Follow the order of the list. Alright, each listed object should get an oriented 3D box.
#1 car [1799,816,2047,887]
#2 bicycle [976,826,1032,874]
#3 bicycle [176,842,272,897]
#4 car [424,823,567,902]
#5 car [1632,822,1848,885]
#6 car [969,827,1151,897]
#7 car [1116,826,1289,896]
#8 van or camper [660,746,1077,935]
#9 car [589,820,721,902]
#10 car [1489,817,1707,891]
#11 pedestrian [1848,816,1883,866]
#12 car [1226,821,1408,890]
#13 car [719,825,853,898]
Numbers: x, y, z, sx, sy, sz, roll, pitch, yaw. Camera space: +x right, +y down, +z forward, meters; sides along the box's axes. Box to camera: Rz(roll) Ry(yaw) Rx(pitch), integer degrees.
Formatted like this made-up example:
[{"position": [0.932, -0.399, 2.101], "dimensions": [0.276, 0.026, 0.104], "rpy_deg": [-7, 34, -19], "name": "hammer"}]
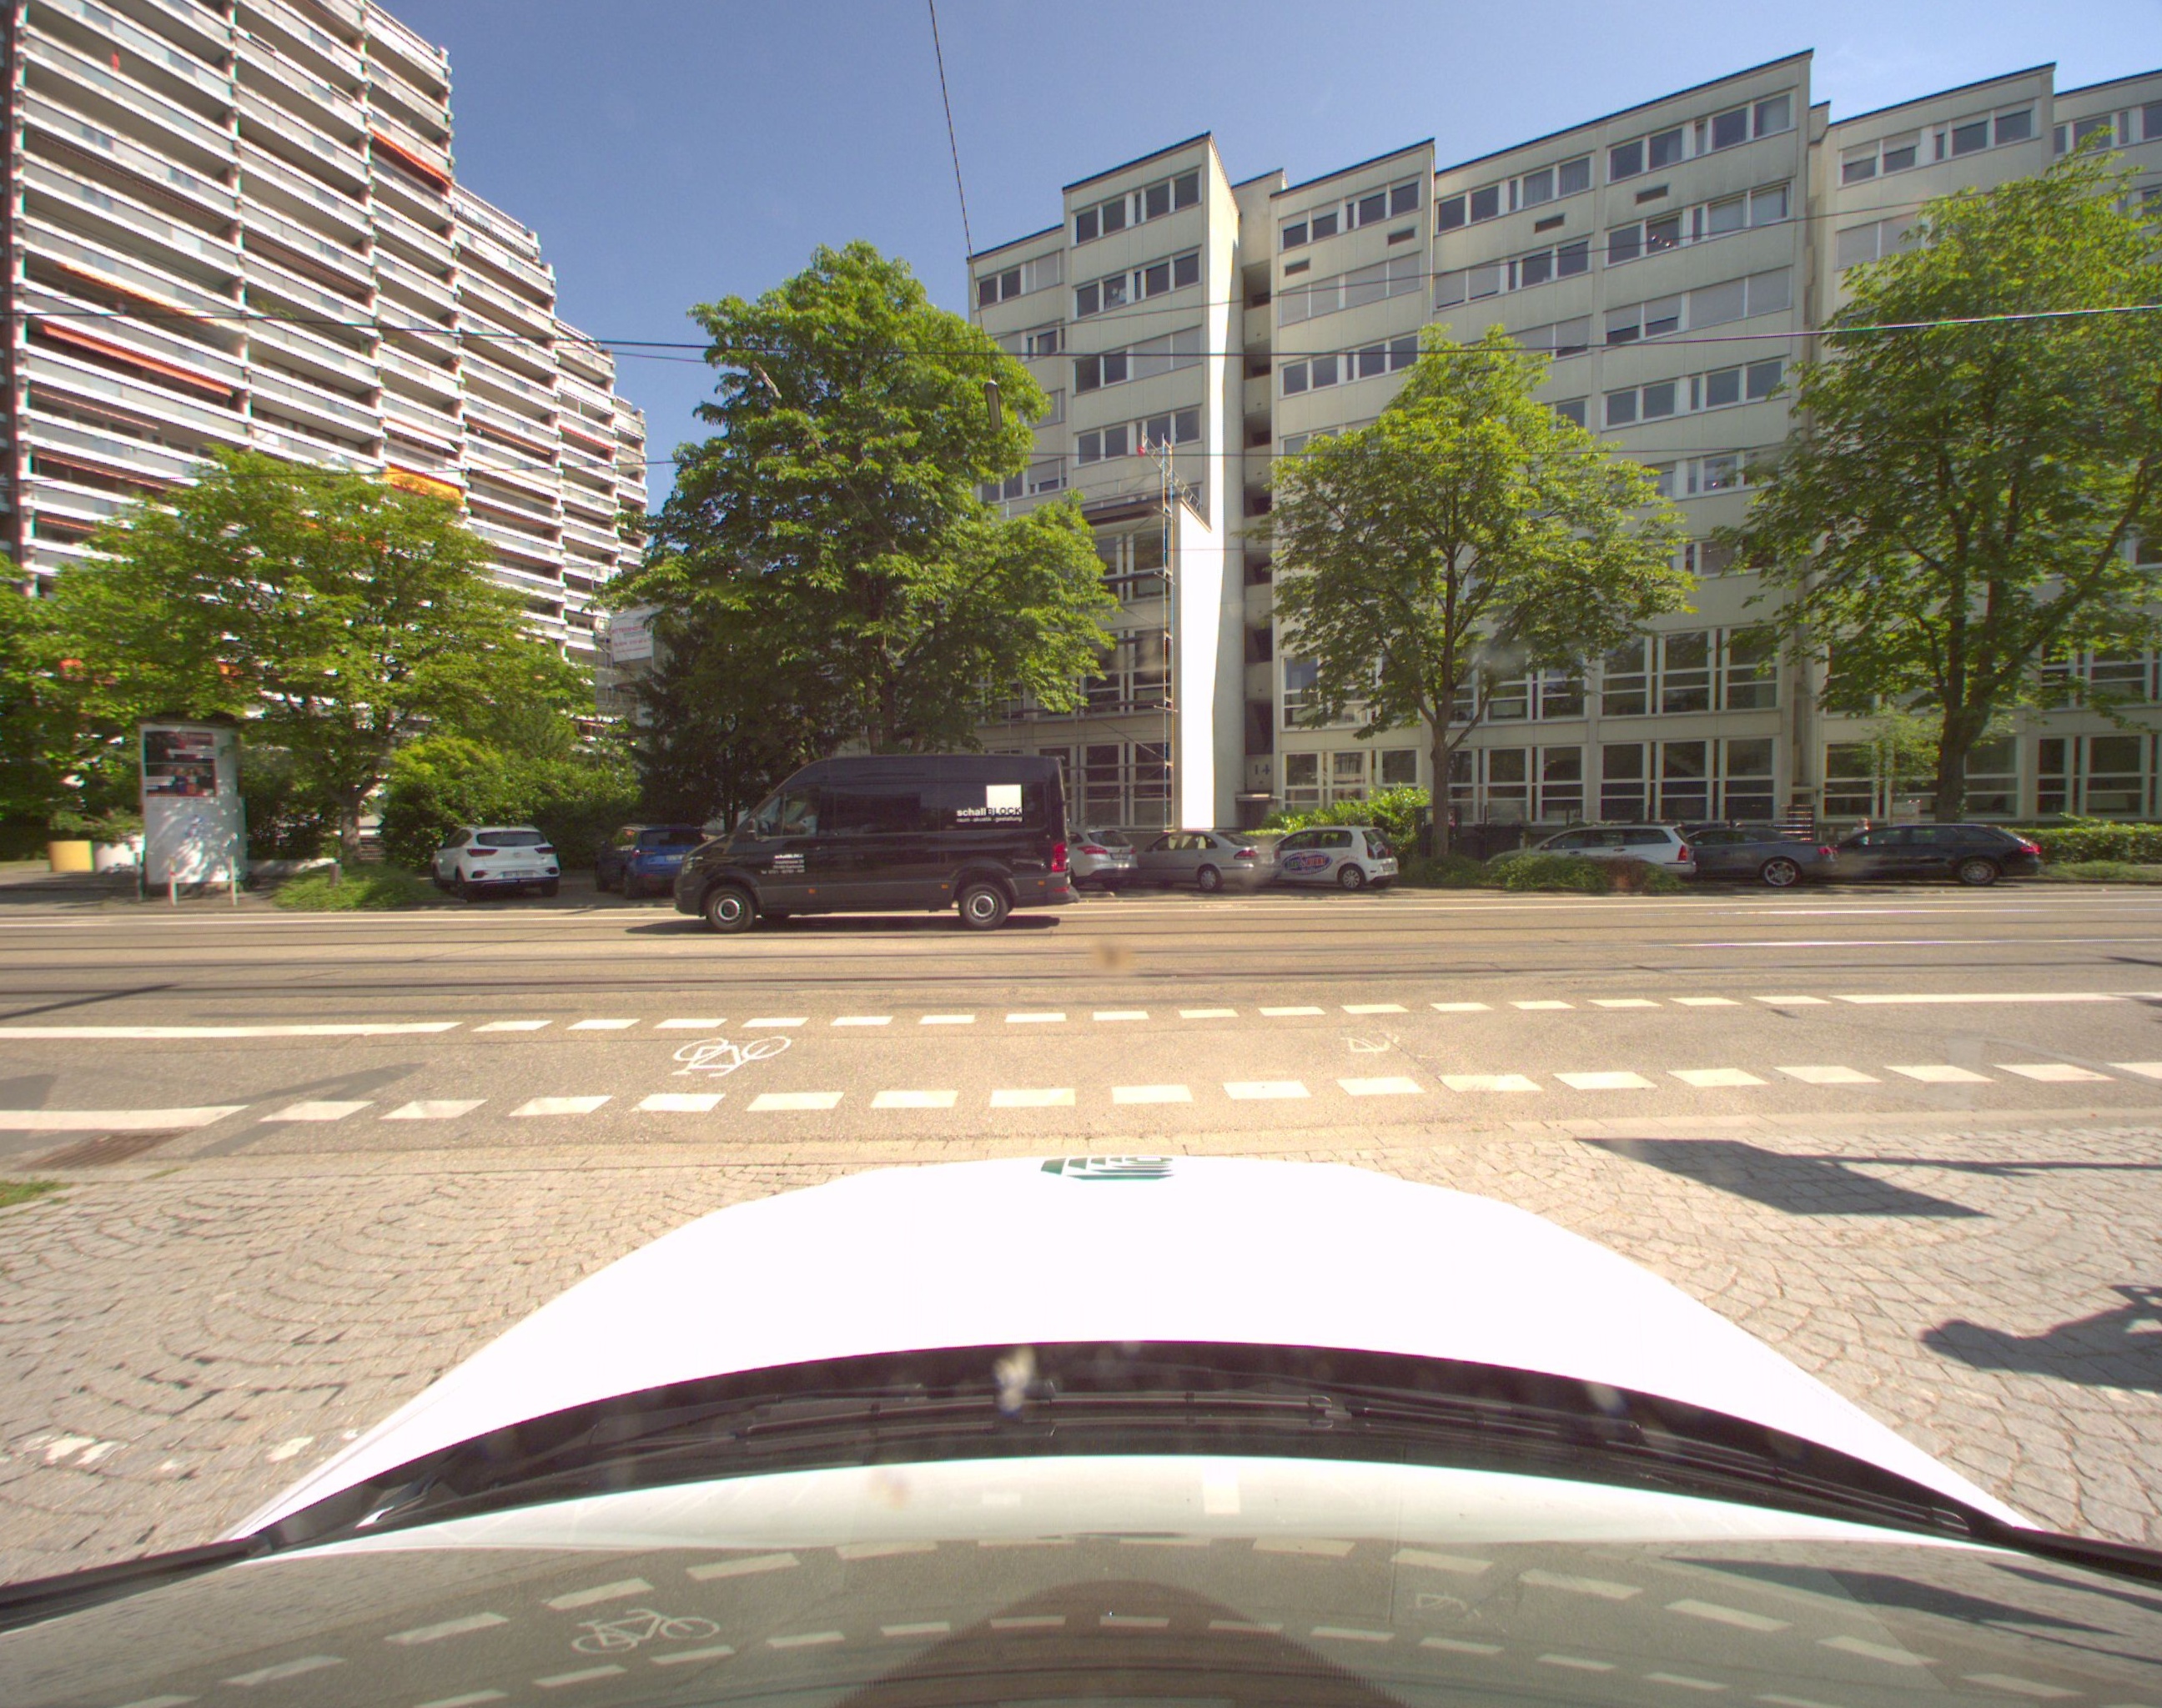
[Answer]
[{"position": [19.436, -0.109, 19.037], "dimensions": [3.896, 1.486, 1.568], "rpy_deg": [1, 2, 44], "name": "car"}, {"position": [-2.450, -0.152, 26.096], "dimensions": [0.655, 1.453, 2.104], "rpy_deg": [0, 2, 30], "name": "bicycle"}, {"position": [-20.932, 0.371, 19.912], "dimensions": [1.614, 1.308, 0.546], "rpy_deg": [-1, 1, -7], "name": "bicycle"}, {"position": [-13.444, 0.125, 18.630], "dimensions": [3.895, 1.606, 1.831], "rpy_deg": [1, 2, 42], "name": "car"}, {"position": [15.707, -0.058, 19.545], "dimensions": [3.896, 1.357, 1.568], "rpy_deg": [1, 2, 44], "name": "car"}, {"position": [-0.599, 0.119, 19.581], "dimensions": [4.380, 1.486, 1.795], "rpy_deg": [1, 2, 44], "name": "car"}, {"position": [2.798, 0.094, 19.373], "dimensions": [1.622, 1.486, 3.897], "rpy_deg": [-2, 2, -44], "name": "car"}, {"position": [-2.993, -0.225, 12.553], "dimensions": [5.825, 2.619, 2.050], "rpy_deg": [-1, 2, -1], "name": "van or camper"}, {"position": [-9.975, 0.058, 18.940], "dimensions": [1.790, 1.622, 3.899], "rpy_deg": [-3, 5, -42], "name": "car"}, {"position": [12.412, -0.034, 19.729], "dimensions": [4.289, 1.604, 1.568], "rpy_deg": [1, 1, 41], "name": "car"}, {"position": [23.066, -0.389, 23.945], "dimensions": [0.618, 1.460, 0.424], "rpy_deg": [-1, 2, -4], "name": "pedestrian"}, {"position": [5.609, 0.016, 19.665], "dimensions": [1.623, 1.486, 3.896], "rpy_deg": [-2, 2, -45], "name": "car"}, {"position": [-6.930, 0.111, 19.002], "dimensions": [3.415, 1.530, 1.586], "rpy_deg": [1, 2, 44], "name": "car"}]
